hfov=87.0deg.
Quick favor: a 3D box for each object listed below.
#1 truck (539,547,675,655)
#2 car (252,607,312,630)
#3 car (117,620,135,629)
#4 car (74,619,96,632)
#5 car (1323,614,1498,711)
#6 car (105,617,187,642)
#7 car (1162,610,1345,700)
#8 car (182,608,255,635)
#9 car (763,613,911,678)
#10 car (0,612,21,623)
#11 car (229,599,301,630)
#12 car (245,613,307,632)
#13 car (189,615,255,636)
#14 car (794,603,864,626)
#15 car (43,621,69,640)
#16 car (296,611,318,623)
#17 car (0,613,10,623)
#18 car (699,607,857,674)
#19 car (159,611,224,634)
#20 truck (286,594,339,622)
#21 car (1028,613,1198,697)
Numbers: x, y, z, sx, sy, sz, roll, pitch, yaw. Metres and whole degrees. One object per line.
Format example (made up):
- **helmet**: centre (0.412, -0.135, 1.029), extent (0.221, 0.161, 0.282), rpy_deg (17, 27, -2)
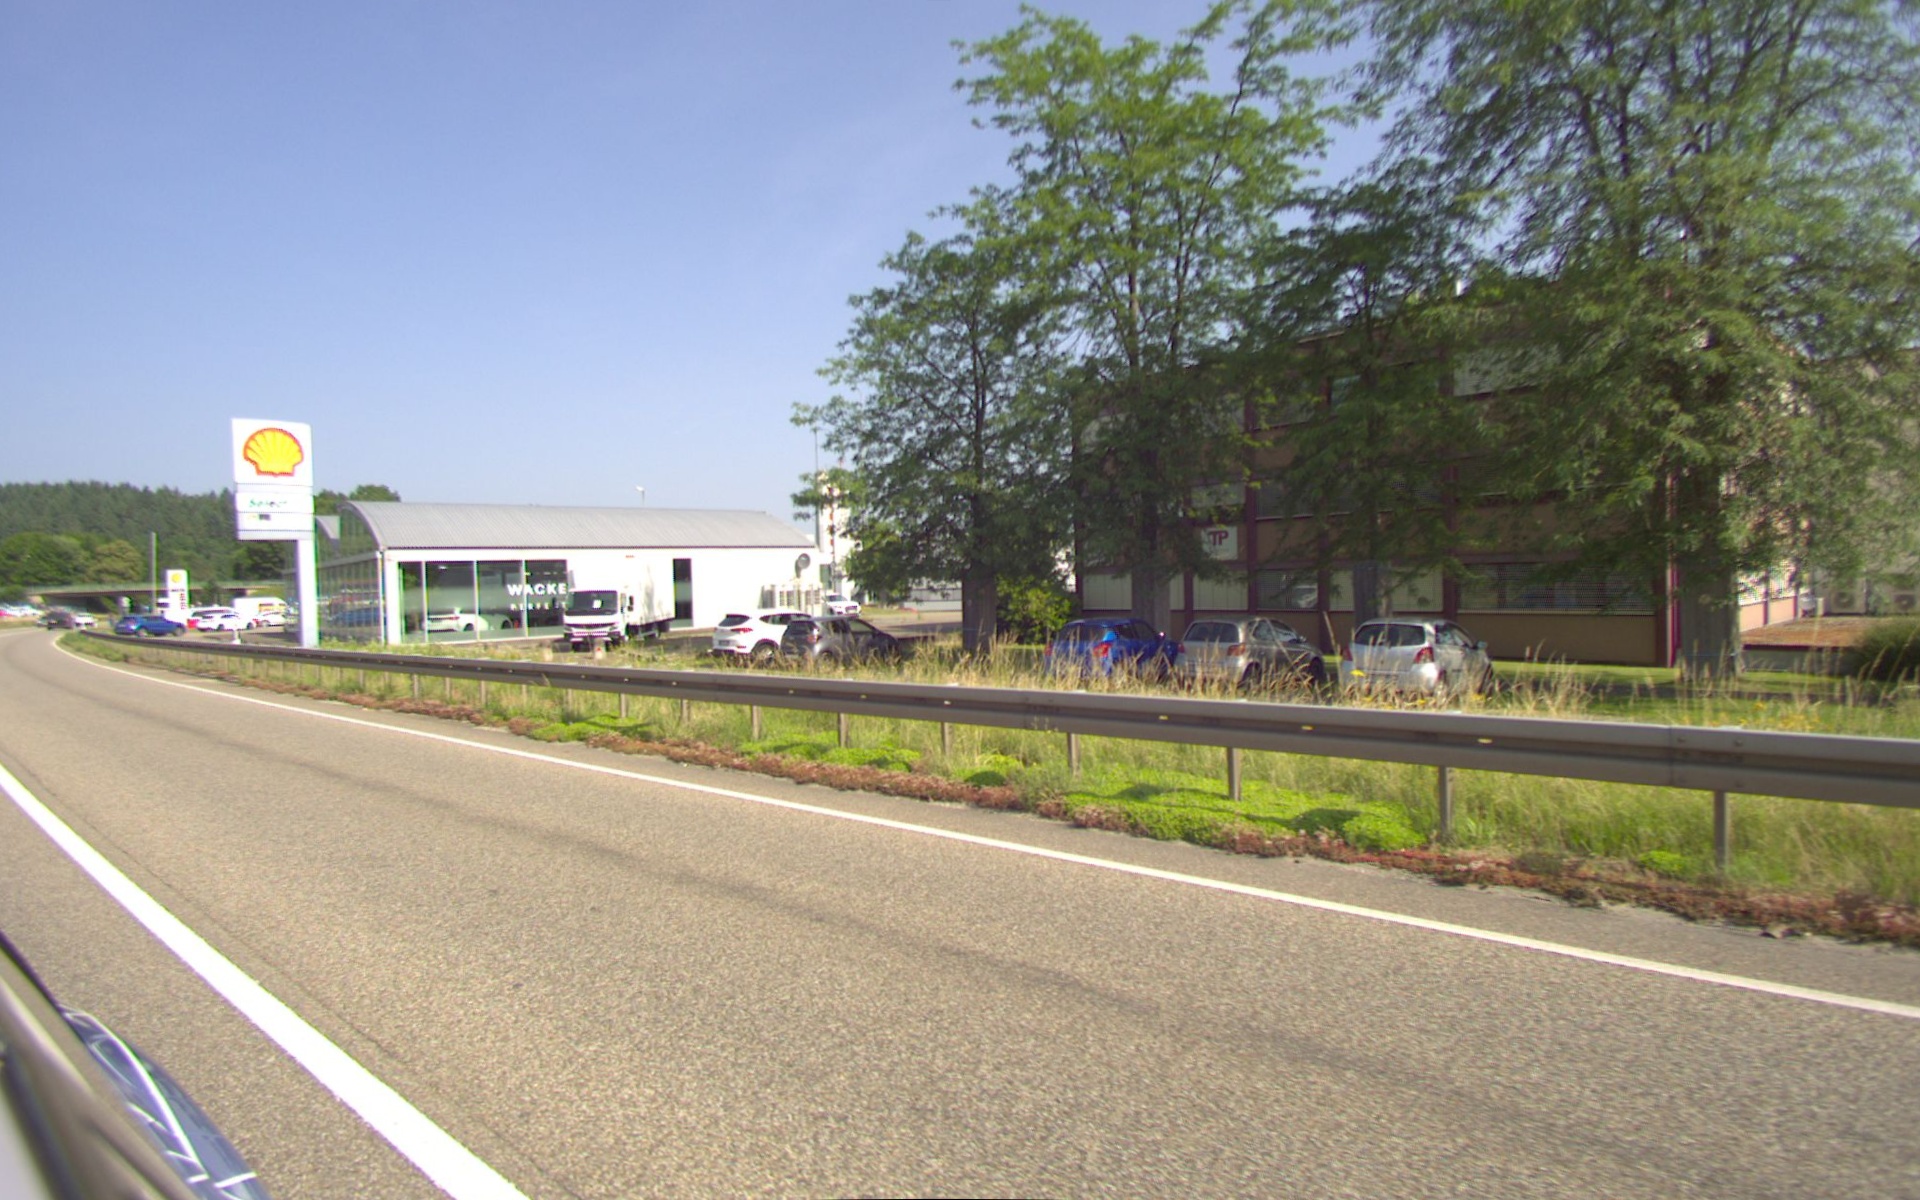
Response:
- **truck**: centre (-13.156, 0.005, 38.540), extent (2.764, 3.583, 8.221), rpy_deg (-2, 1, -4)
- **car**: centre (-62.878, 1.692, 93.865), extent (4.328, 1.821, 2.004), rpy_deg (-4, 2, -41)
- **car**: centre (-131.001, 3.824, 158.997), extent (1.727, 1.486, 4.299), rpy_deg (0, -1, -32)
- **car**: centre (-110.382, 3.223, 127.689), extent (1.769, 1.642, 4.236), rpy_deg (0, -1, -37)
- **car**: centre (8.193, 1.024, 18.247), extent (1.861, 1.471, 3.708), rpy_deg (-1, 0, 42)
- **car**: centre (-56.027, 2.011, 69.742), extent (1.963, 1.518, 4.221), rpy_deg (-1, 0, 9)
- **car**: centre (6.004, 1.026, 20.516), extent (3.702, 1.511, 1.860), rpy_deg (-2, 1, -41)
- **car**: centre (-63.450, 1.812, 86.638), extent (4.734, 1.996, 2.232), rpy_deg (-4, 2, -41)
- **car**: centre (-3.308, 1.176, 27.792), extent (1.930, 1.511, 3.710), rpy_deg (-1, 1, 40)
- **car**: centre (-141.411, 2.591, 149.312), extent (3.933, 1.475, 1.882), rpy_deg (0, 0, -34)
- **car**: centre (-69.960, 1.410, 101.947), extent (5.649, 2.765, 2.289), rpy_deg (-4, 2, -40)
- **car**: centre (-61.831, 2.021, 91.492), extent (4.411, 1.409, 1.969), rpy_deg (-3, 1, -41)
- **car**: centre (-60.034, 2.067, 82.416), extent (1.876, 1.413, 4.219), rpy_deg (-1, 1, 9)
- **car**: centre (-7.337, 0.826, 56.442), extent (4.000, 1.209, 1.703), rpy_deg (-1, 0, 43)
- **car**: centre (-96.205, 3.204, 107.747), extent (1.890, 1.899, 4.918), rpy_deg (1, -1, -40)
- **car**: centre (-90.449, 2.387, 140.280), extent (1.691, 1.578, 4.673), rpy_deg (-1, 0, -22)
- **car**: centre (-140.466, 2.628, 146.887), extent (3.489, 1.475, 1.810), rpy_deg (0, 0, -34)
- **car**: centre (-5.249, 1.116, 29.594), extent (1.930, 1.667, 4.307), rpy_deg (-1, 1, 40)
- **car**: centre (-71.432, 2.094, 94.148), extent (4.614, 1.871, 2.147), rpy_deg (-4, 1, -41)
- **truck**: centre (-102.685, 1.144, 160.813), extent (3.010, 4.165, 16.825), rpy_deg (-1, 0, -18)
- **car**: centre (3.385, 1.107, 21.940), extent (1.931, 1.511, 3.708), rpy_deg (-1, 1, 42)
